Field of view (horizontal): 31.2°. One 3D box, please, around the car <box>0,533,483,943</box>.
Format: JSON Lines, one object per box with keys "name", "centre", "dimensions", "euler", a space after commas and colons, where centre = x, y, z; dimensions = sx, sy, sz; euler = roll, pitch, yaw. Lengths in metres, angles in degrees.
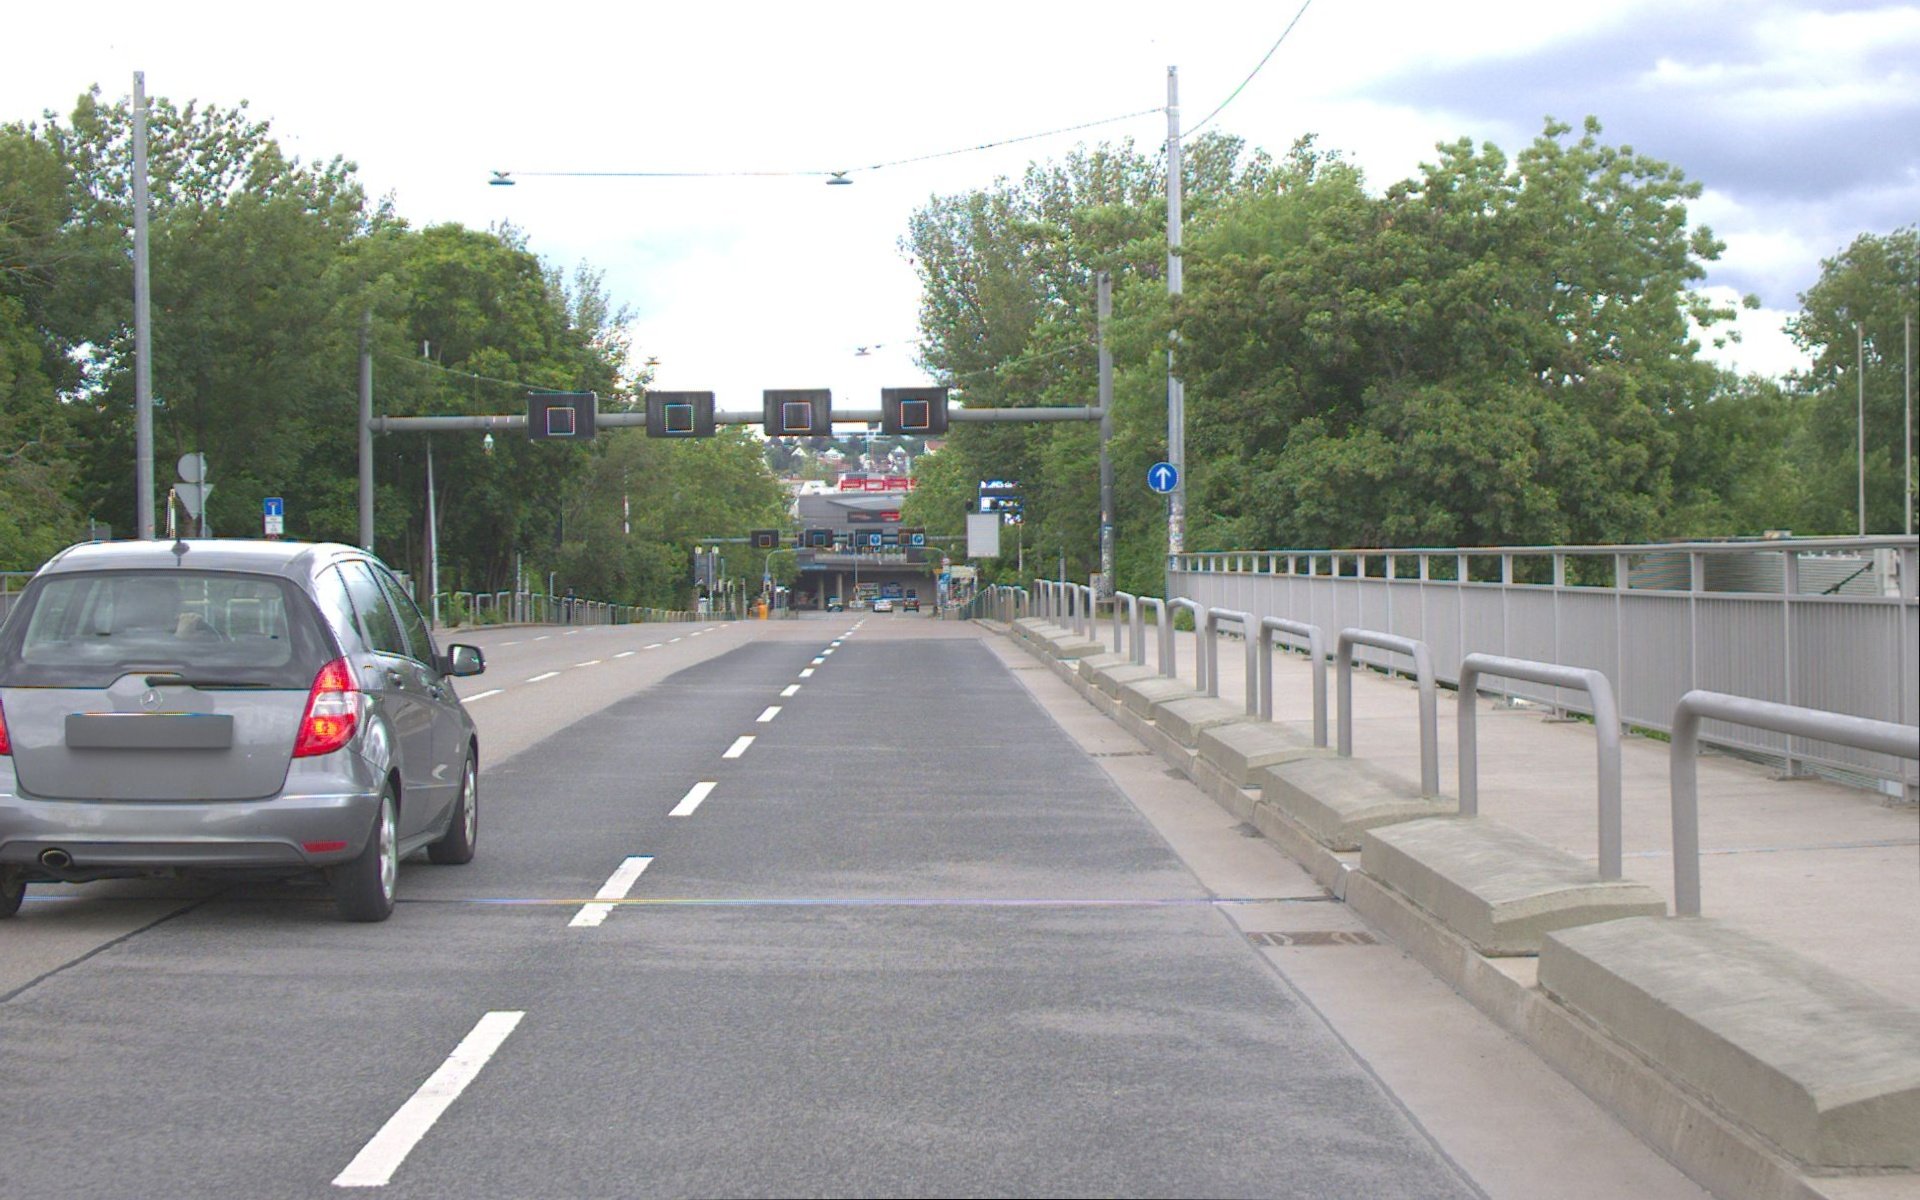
{"name": "car", "centre": [-3.207, 0.496, 15.171], "dimensions": [1.745, 1.545, 3.871], "euler": [0, 2, -1]}
